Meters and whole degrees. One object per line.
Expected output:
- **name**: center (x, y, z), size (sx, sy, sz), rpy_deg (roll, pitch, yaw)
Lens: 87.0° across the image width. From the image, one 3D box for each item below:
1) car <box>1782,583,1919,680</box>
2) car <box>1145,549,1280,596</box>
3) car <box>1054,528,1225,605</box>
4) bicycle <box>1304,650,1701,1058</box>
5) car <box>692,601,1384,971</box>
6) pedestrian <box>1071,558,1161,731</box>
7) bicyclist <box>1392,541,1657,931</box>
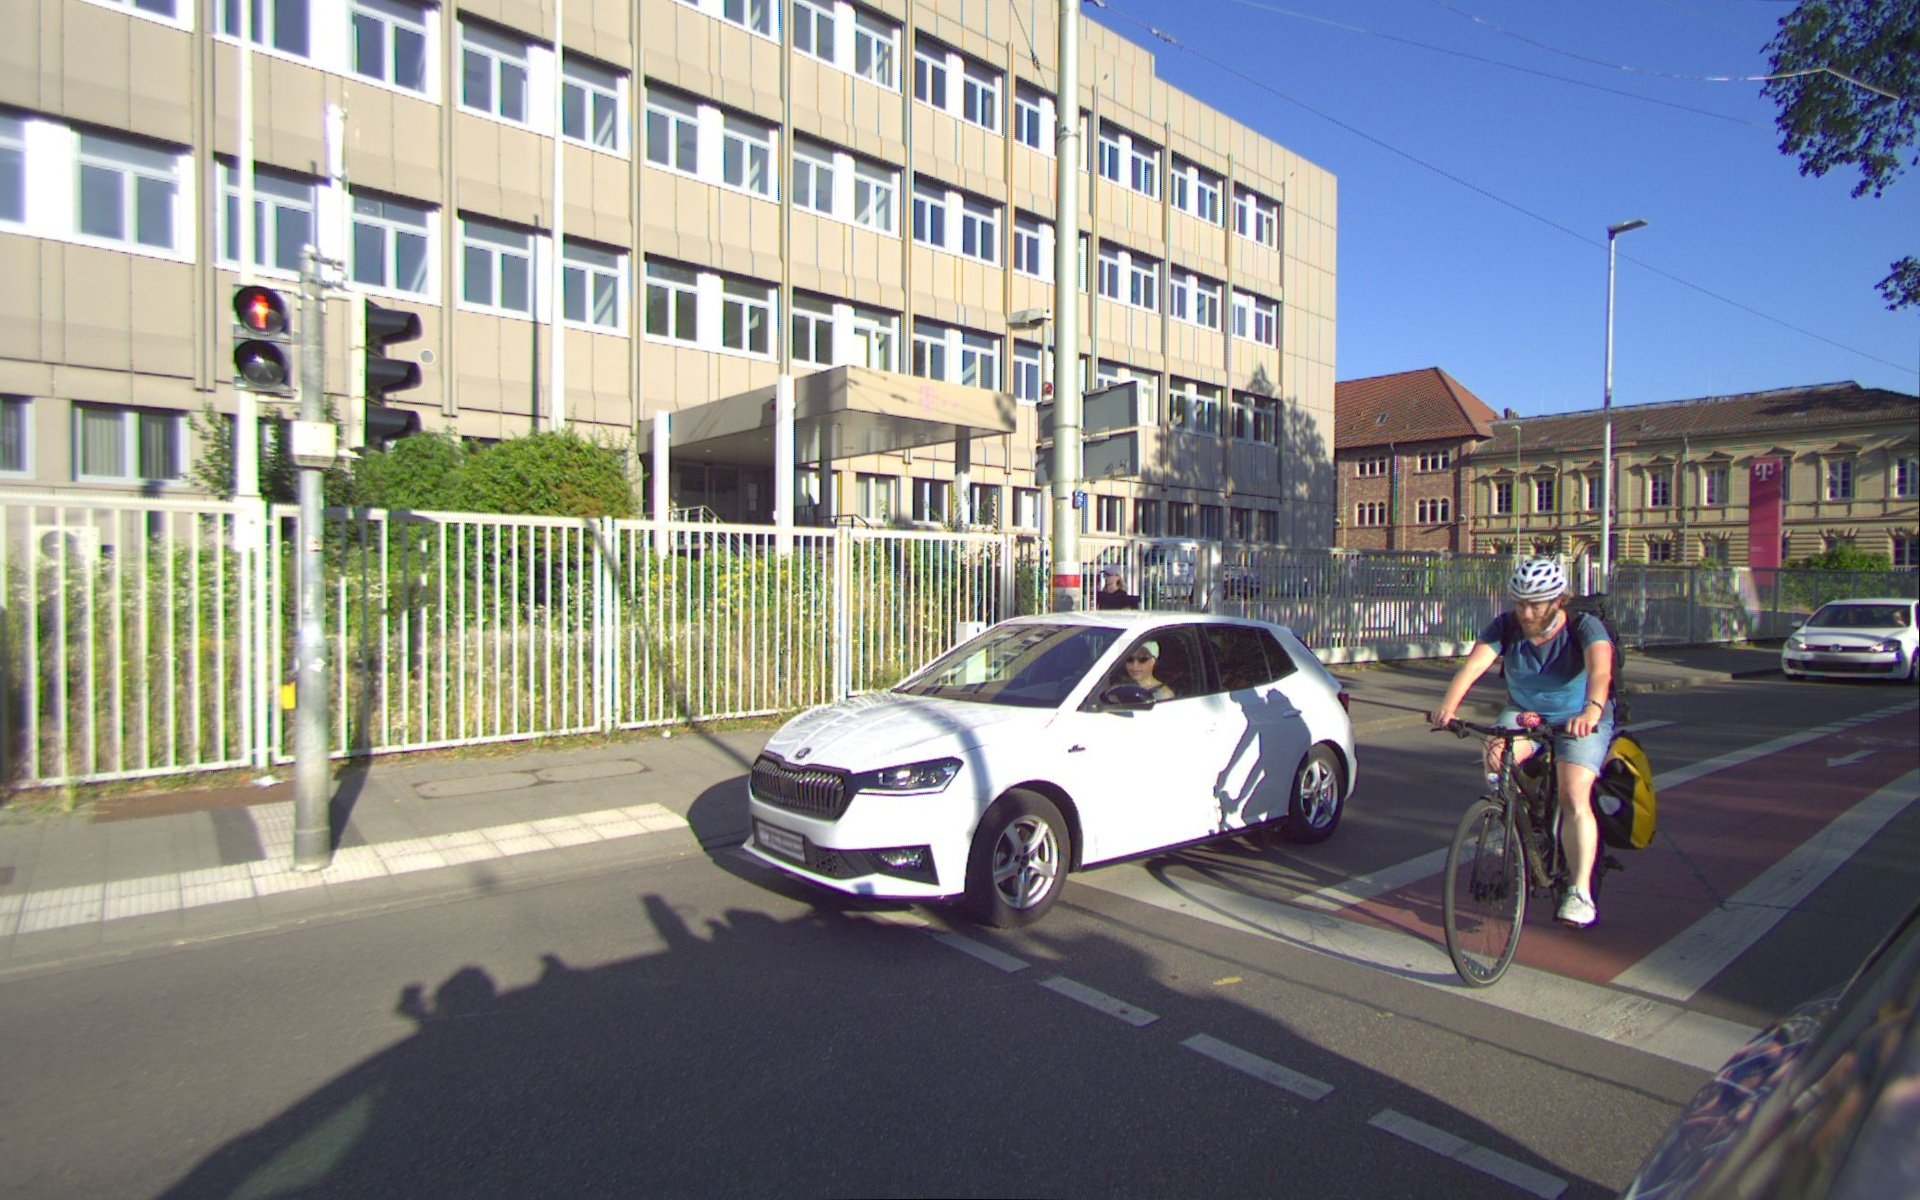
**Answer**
- **car**: center (16.401, 0.490, 17.923), size (4.221, 1.521, 1.793), rpy_deg (-1, -1, -36)
- **car**: center (9.245, -1.010, 37.372), size (1.966, 1.601, 4.570), rpy_deg (-1, 2, -41)
- **car**: center (4.838, -0.870, 26.947), size (4.702, 1.865, 1.997), rpy_deg (-1, 2, -41)
- **bicycle**: center (2.389, 0.864, 4.284), size (2.267, 1.158, 0.763), rpy_deg (-1, 1, -42)
- **car**: center (0.669, 0.736, 5.945), size (4.002, 1.406, 1.704), rpy_deg (-1, 0, -40)
- **pedestrian**: center (1.673, 0.447, 10.859), size (0.756, 1.784, 0.592), rpy_deg (0, 1, -36)
- **bicyclist**: center (2.394, 0.496, 4.290), size (0.844, 1.440, 0.727), rpy_deg (-1, 0, -42)
